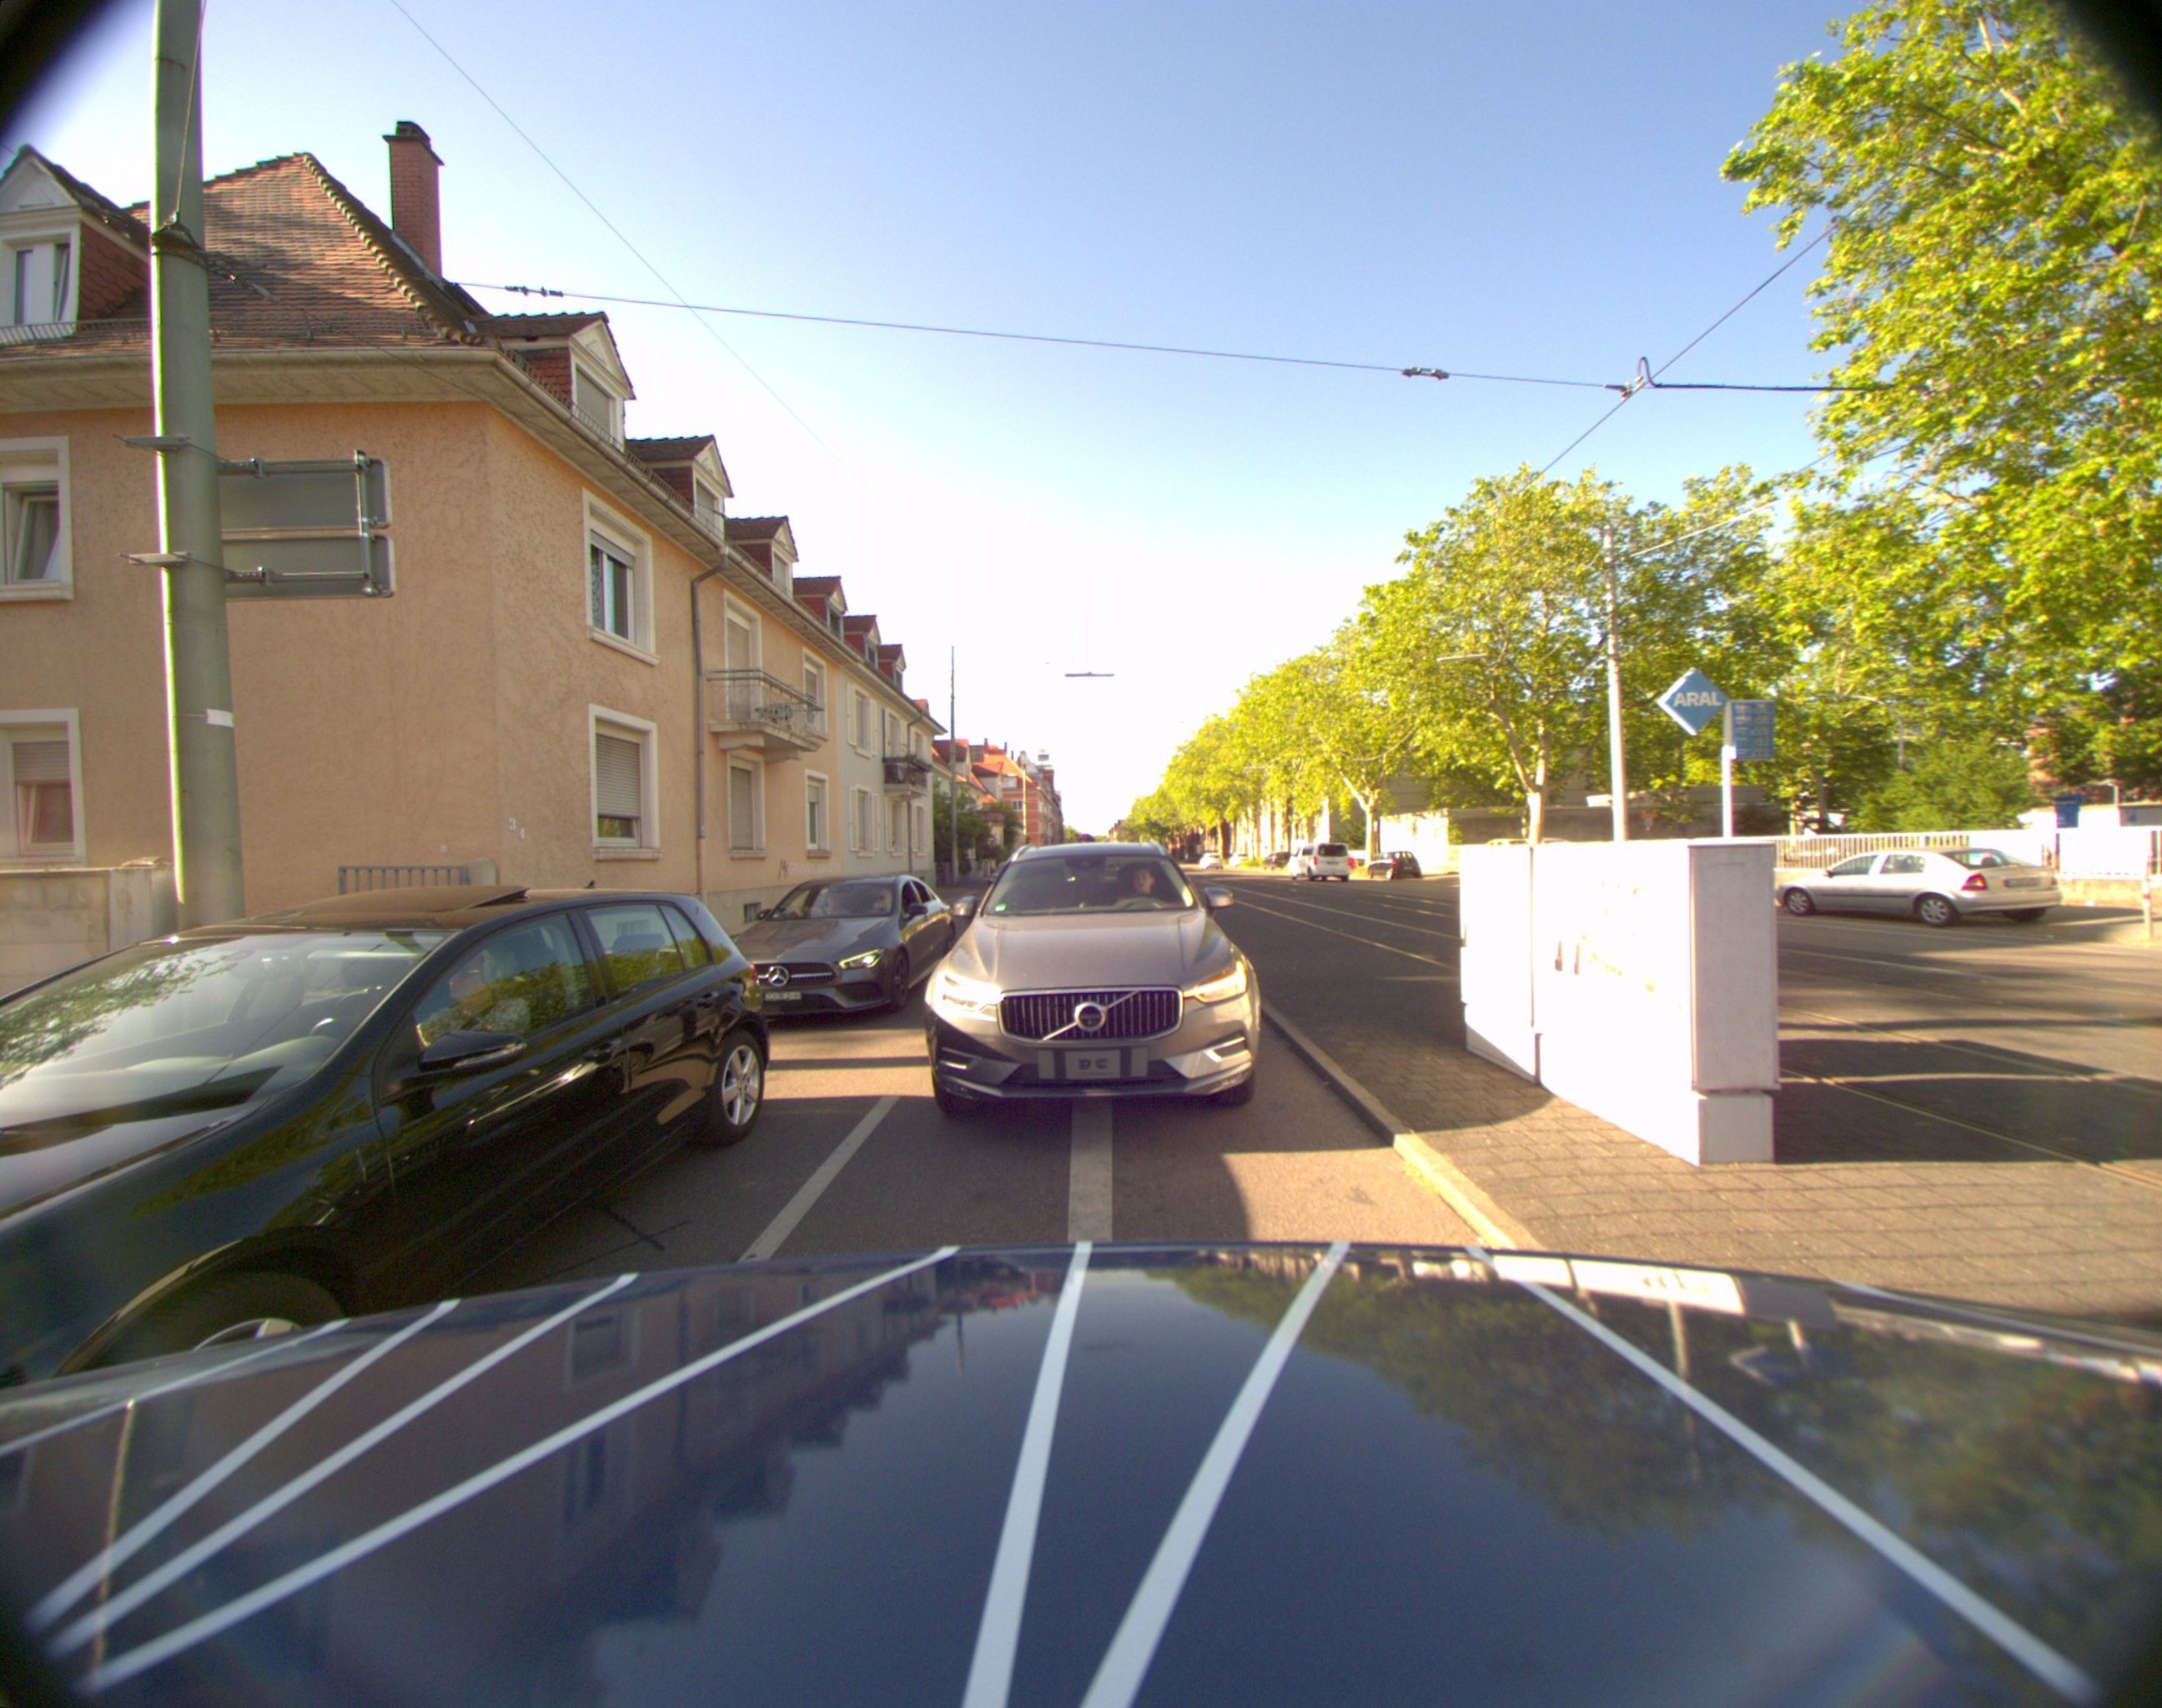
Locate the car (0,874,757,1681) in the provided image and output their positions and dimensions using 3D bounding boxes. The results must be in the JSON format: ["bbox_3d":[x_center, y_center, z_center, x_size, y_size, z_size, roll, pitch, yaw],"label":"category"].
[{"bbox_3d":[-2.896,0.857,2.621,1.733,1.499,4.051,-2,-1,1],"label":"car"}]

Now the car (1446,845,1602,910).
[{"bbox_3d":[11.446,0.543,19.981,1.700,1.412,3.999,4,1,1],"label":"car"}]

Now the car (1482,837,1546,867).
[{"bbox_3d":[21.777,-0.115,38.328,1.545,1.412,3.151,-2,1,4],"label":"car"}]

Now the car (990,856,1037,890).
[{"bbox_3d":[-3.242,0.894,37.103,1.841,1.449,3.999,-2,1,1],"label":"car"}]

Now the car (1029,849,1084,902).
[{"bbox_3d":[-0.863,0.733,29.390,1.866,1.794,4.778,-2,1,1],"label":"car"}]

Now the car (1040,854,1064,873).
[{"bbox_3d":[-2.528,0.802,67.002,1.841,1.449,3.999,-2,1,1],"label":"car"}]

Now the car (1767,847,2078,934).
[{"bbox_3d":[16.239,0.604,15.024,1.731,1.412,3.999,-2,1,1],"label":"car"}]

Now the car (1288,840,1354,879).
[{"bbox_3d":[12.042,0.251,38.421,1.850,1.835,4.394,-1,1,-1],"label":"car"}]

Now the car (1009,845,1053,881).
[{"bbox_3d":[-2.840,0.445,44.869,1.937,1.888,7.210,-2,1,1],"label":"car"}]

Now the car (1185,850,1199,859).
[{"bbox_3d":[18.337,0.023,125.563,1.700,1.401,3.999,-1,1,1],"label":"car"}]

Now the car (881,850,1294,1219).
[{"bbox_3d":[0.039,0.854,6.009,1.912,1.666,4.763,-2,1,0],"label":"car"}]

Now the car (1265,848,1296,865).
[{"bbox_3d":[17.288,0.227,65.917,1.700,1.401,3.999,-1,1,1],"label":"car"}]

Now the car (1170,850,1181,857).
[{"bbox_3d":[18.595,-0.075,149.568,1.700,1.401,3.999,-1,1,1],"label":"car"}]

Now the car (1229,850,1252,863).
[{"bbox_3d":[17.520,0.250,83.525,1.700,1.401,3.999,-1,1,1],"label":"car"}]

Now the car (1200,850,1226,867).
[{"bbox_3d":[12.639,0.379,73.060,1.764,1.487,3.999,-2,1,1],"label":"car"}]

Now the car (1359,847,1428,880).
[{"bbox_3d":[16.838,0.464,41.222,1.753,1.514,4.434,-5,1,-1],"label":"car"}]

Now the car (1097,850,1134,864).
[{"bbox_3d":[3.959,0.323,87.665,3.989,1.449,1.846,-2,1,44],"label":"car"}]

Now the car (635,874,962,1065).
[{"bbox_3d":[-2.786,1.060,8.778,1.911,1.411,4.492,-2,1,2],"label":"car"}]

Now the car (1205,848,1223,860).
[{"bbox_3d":[17.668,0.008,100.786,1.700,1.548,3.999,-1,1,1],"label":"car"}]

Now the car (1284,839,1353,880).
[{"bbox_3d":[12.013,0.321,38.820,1.887,1.863,5.115,-2,-1,1],"label":"car"}]

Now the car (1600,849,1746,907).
[{"bbox_3d":[16.370,0.607,21.202,1.546,1.412,3.254,-2,1,1],"label":"car"}]

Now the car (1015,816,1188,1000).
[{"bbox_3d":[0.239,0.596,11.126,1.912,2.048,4.763,-2,1,0],"label":"car"}]

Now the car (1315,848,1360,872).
[{"bbox_3d":[16.928,0.376,50.381,1.700,1.460,3.999,-1,1,1],"label":"car"}]
